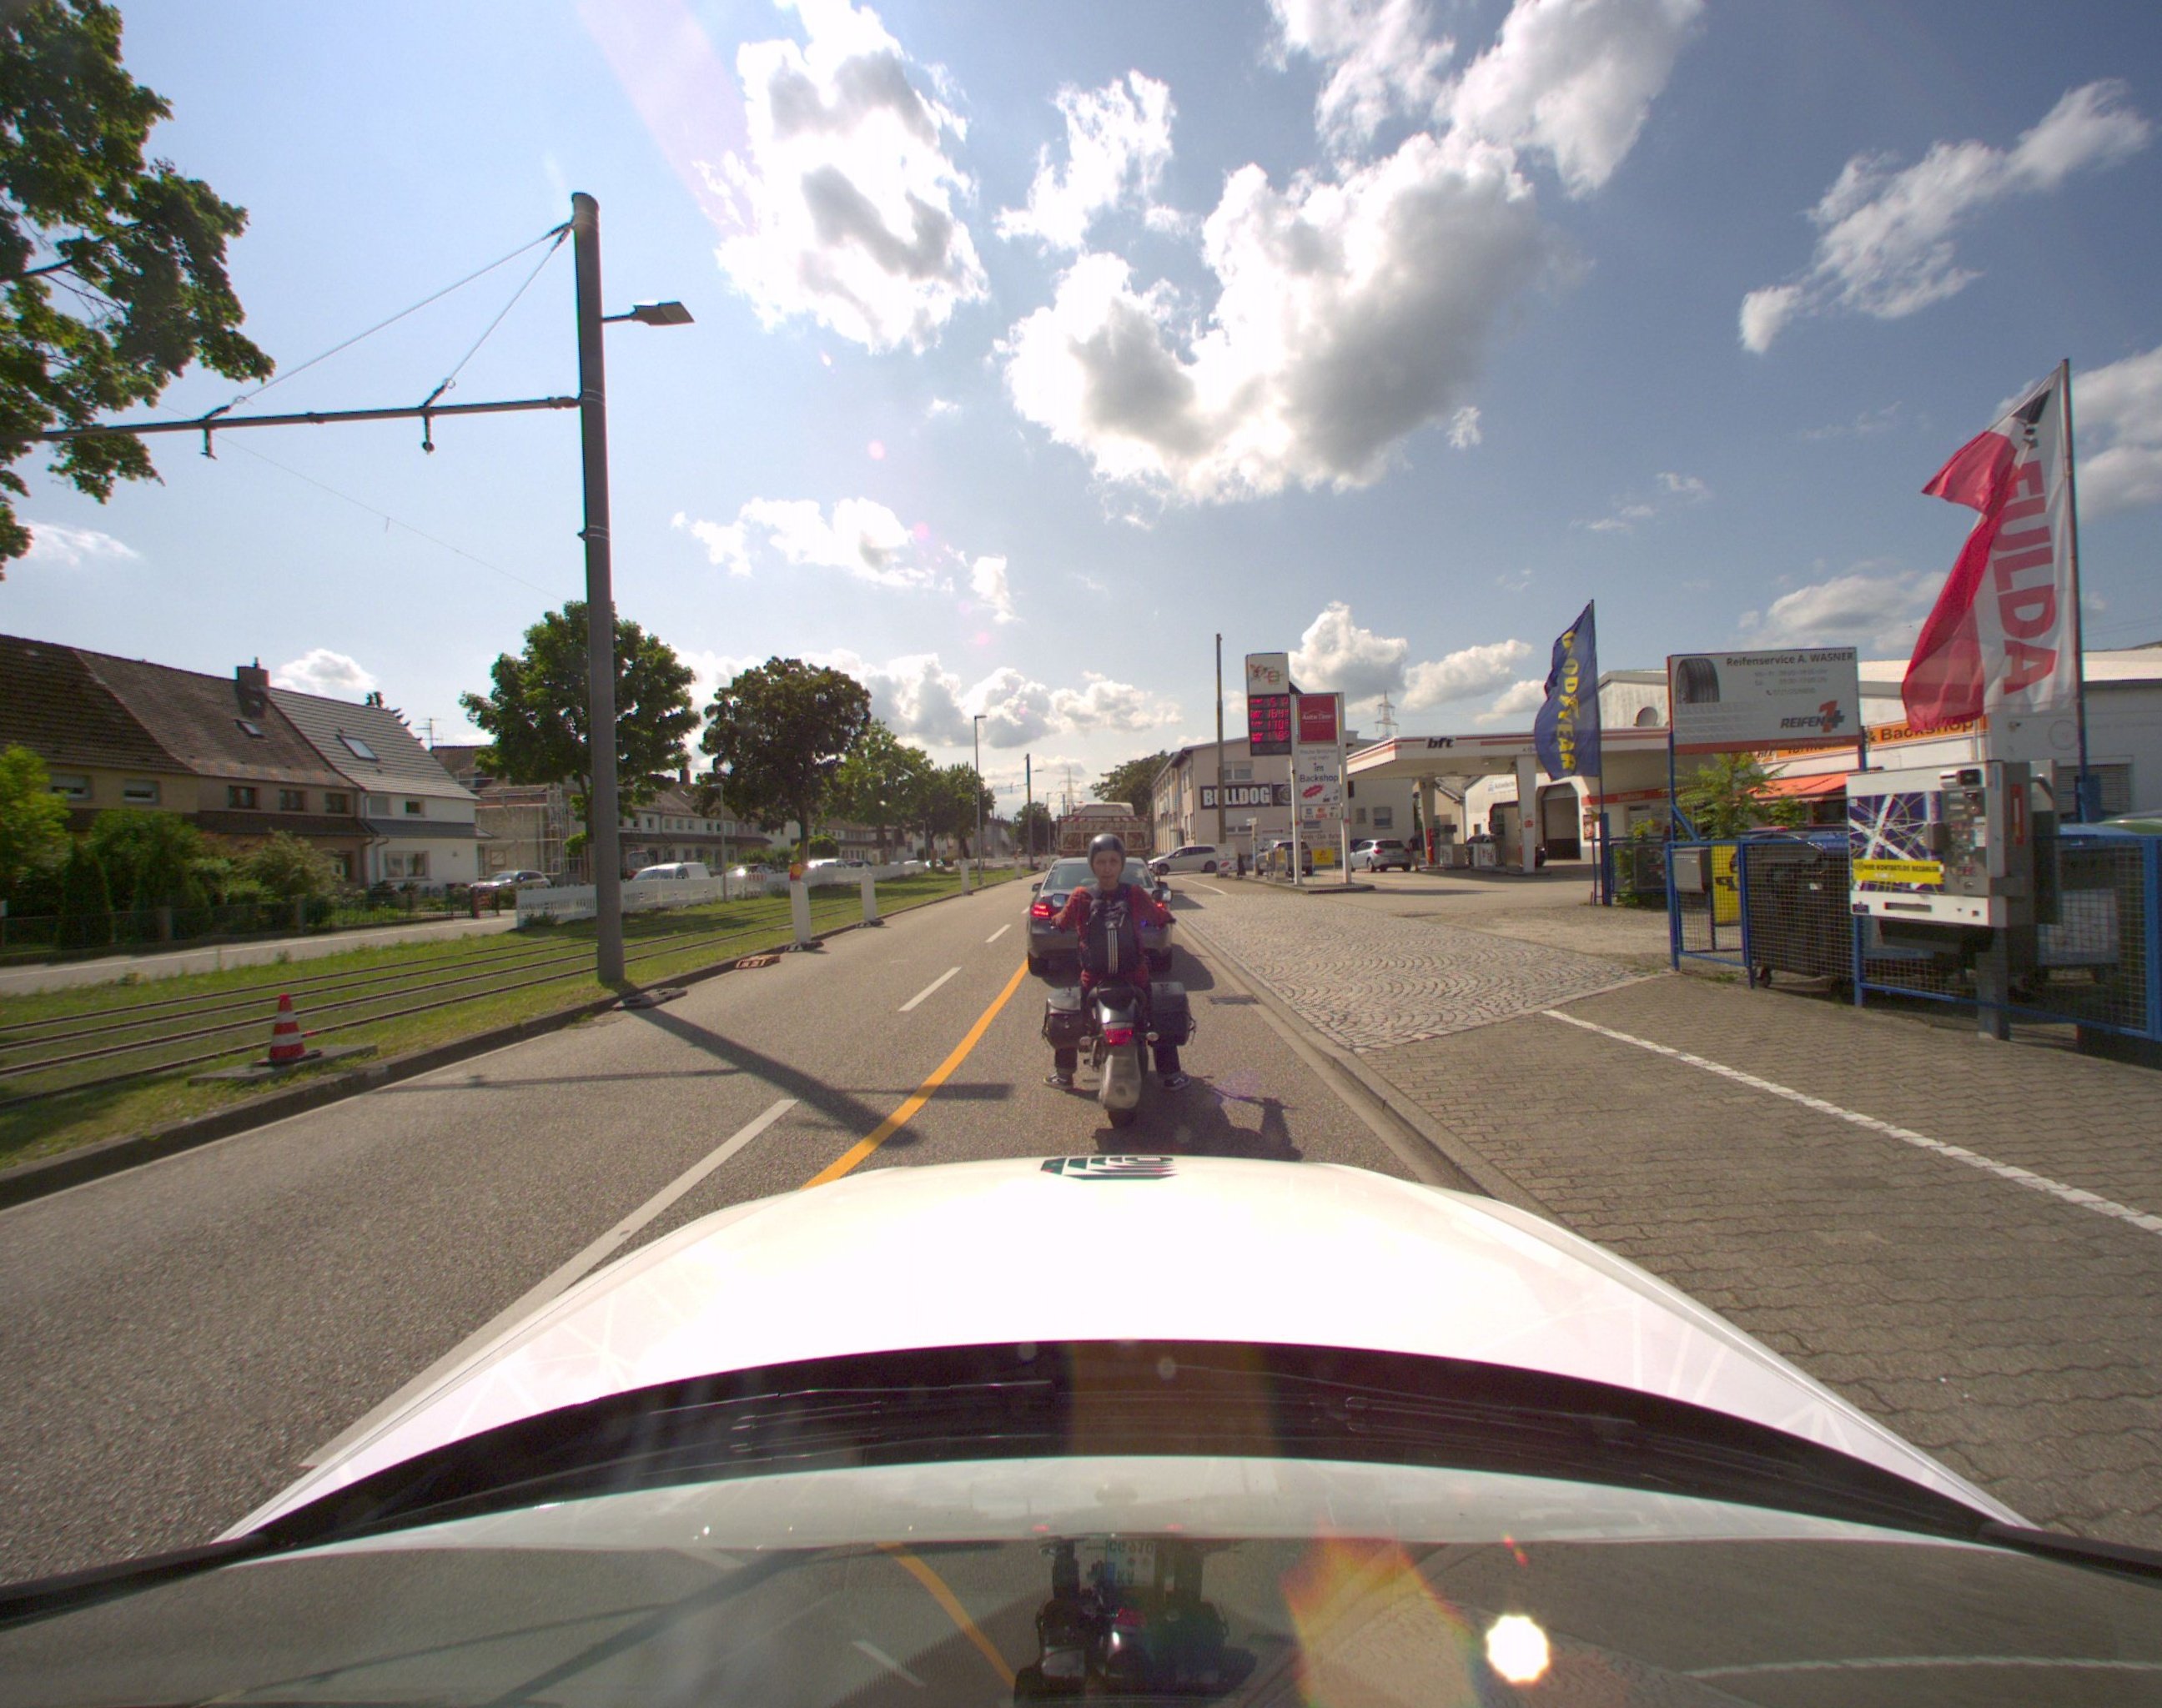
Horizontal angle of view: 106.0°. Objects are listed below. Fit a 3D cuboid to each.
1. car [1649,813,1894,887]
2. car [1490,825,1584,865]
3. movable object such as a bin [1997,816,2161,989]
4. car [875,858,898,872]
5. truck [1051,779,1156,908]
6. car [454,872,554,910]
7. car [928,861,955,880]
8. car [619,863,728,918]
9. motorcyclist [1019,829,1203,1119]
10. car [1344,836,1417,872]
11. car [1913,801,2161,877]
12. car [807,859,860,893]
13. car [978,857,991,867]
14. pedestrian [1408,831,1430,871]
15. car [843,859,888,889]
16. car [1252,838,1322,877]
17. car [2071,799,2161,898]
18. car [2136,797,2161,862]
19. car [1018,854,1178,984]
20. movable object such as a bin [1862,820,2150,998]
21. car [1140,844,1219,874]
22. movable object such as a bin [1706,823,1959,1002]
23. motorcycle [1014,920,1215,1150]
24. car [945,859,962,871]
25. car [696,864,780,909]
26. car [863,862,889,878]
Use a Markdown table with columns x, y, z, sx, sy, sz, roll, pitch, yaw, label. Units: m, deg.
| x | y | z | sx | sy | sz | roll | pitch | yaw | label |
| --- | --- | --- | --- | --- | --- | --- | --- | --- | --- |
| 15.781 | -0.089 | 18.761 | 4.180 | 1.463 | 1.587 | -2 | 0 | 2 | car |
| 19.135 | -0.368 | 34.368 | 1.800 | 1.503 | 3.833 | -2 | 0 | 0 | car |
| 9.493 | 0.374 | 7.134 | 1.397 | 1.396 | 1.338 | -2 | 0 | 1 | movable object such as a bin |
| -25.156 | 1.408 | 105.206 | 1.769 | 1.722 | 4.130 | -2 | 0 | 2 | car |
| 0.734 | -0.287 | 25.503 | 2.628 | 3.296 | 8.059 | -2 | 0 | 2 | truck |
| -27.431 | 1.729 | 38.897 | 1.769 | 1.519 | 4.002 | -2 | 0 | 2 | car |
| -13.724 | 1.636 | 80.457 | 1.769 | 1.722 | 4.130 | -2 | 0 | 2 | car |
| -15.458 | 1.319 | 31.159 | 1.769 | 1.821 | 4.366 | -2 | 0 | 2 | car |
| 0.187 | 0.676 | 5.144 | 0.975 | 1.602 | 1.088 | -2 | 0 | 1 | motorcyclist |
| 13.483 | -0.007 | 36.923 | 1.800 | 1.503 | 3.832 | -2 | 0 | -1 | car |
| 21.529 | -0.341 | 18.169 | 4.180 | 1.463 | 1.587 | -2 | 0 | 2 | car |
| -15.058 | 1.331 | 49.864 | 1.769 | 1.867 | 4.130 | -2 | 0 | 2 | car |
| -19.093 | 1.539 | 161.357 | 1.769 | 1.722 | 4.252 | -2 | 0 | 2 | car |
| 14.658 | -0.131 | 35.322 | 0.701 | 1.656 | 0.551 | -2 | 0 | 37 | pedestrian |
| -14.799 | 1.339 | 56.041 | 1.769 | 1.805 | 4.130 | -2 | 0 | 2 | car |
| 9.122 | 0.151 | 36.456 | 1.665 | 1.562 | 4.235 | -2 | 0 | -6 | car |
| 17.589 | -0.177 | 11.714 | 4.249 | 1.415 | 1.678 | -3 | 0 | 7 | car |
| 26.533 | -0.637 | 18.006 | 4.180 | 1.463 | 1.587 | -2 | 0 | 2 | car |
| 0.261 | 0.743 | 11.298 | 1.816 | 1.452 | 4.002 | 0 | 0 | 2 | car |
| 8.091 | 0.444 | 7.222 | 1.104 | 1.396 | 1.244 | -2 | 0 | 1 | movable object such as a bin |
| 5.665 | 0.294 | 47.065 | 4.225 | 1.543 | 1.669 | -2 | 0 | -7 | car |
| 6.696 | 0.478 | 7.362 | 1.104 | 1.436 | 1.244 | -2 | 0 | 1 | movable object such as a bin |
| 0.212 | 1.025 | 5.448 | 0.975 | 0.897 | 2.654 | -2 | 0 | 2 | motorcycle |
| -19.630 | 1.641 | 125.920 | 1.769 | 1.722 | 4.130 | -2 | 0 | 2 | car |
| -15.401 | 1.404 | 36.802 | 1.769 | 1.774 | 4.230 | -2 | 0 | 2 | car |
| -24.384 | 1.845 | 97.045 | 1.769 | 1.722 | 4.130 | -2 | 0 | 2 | car |
